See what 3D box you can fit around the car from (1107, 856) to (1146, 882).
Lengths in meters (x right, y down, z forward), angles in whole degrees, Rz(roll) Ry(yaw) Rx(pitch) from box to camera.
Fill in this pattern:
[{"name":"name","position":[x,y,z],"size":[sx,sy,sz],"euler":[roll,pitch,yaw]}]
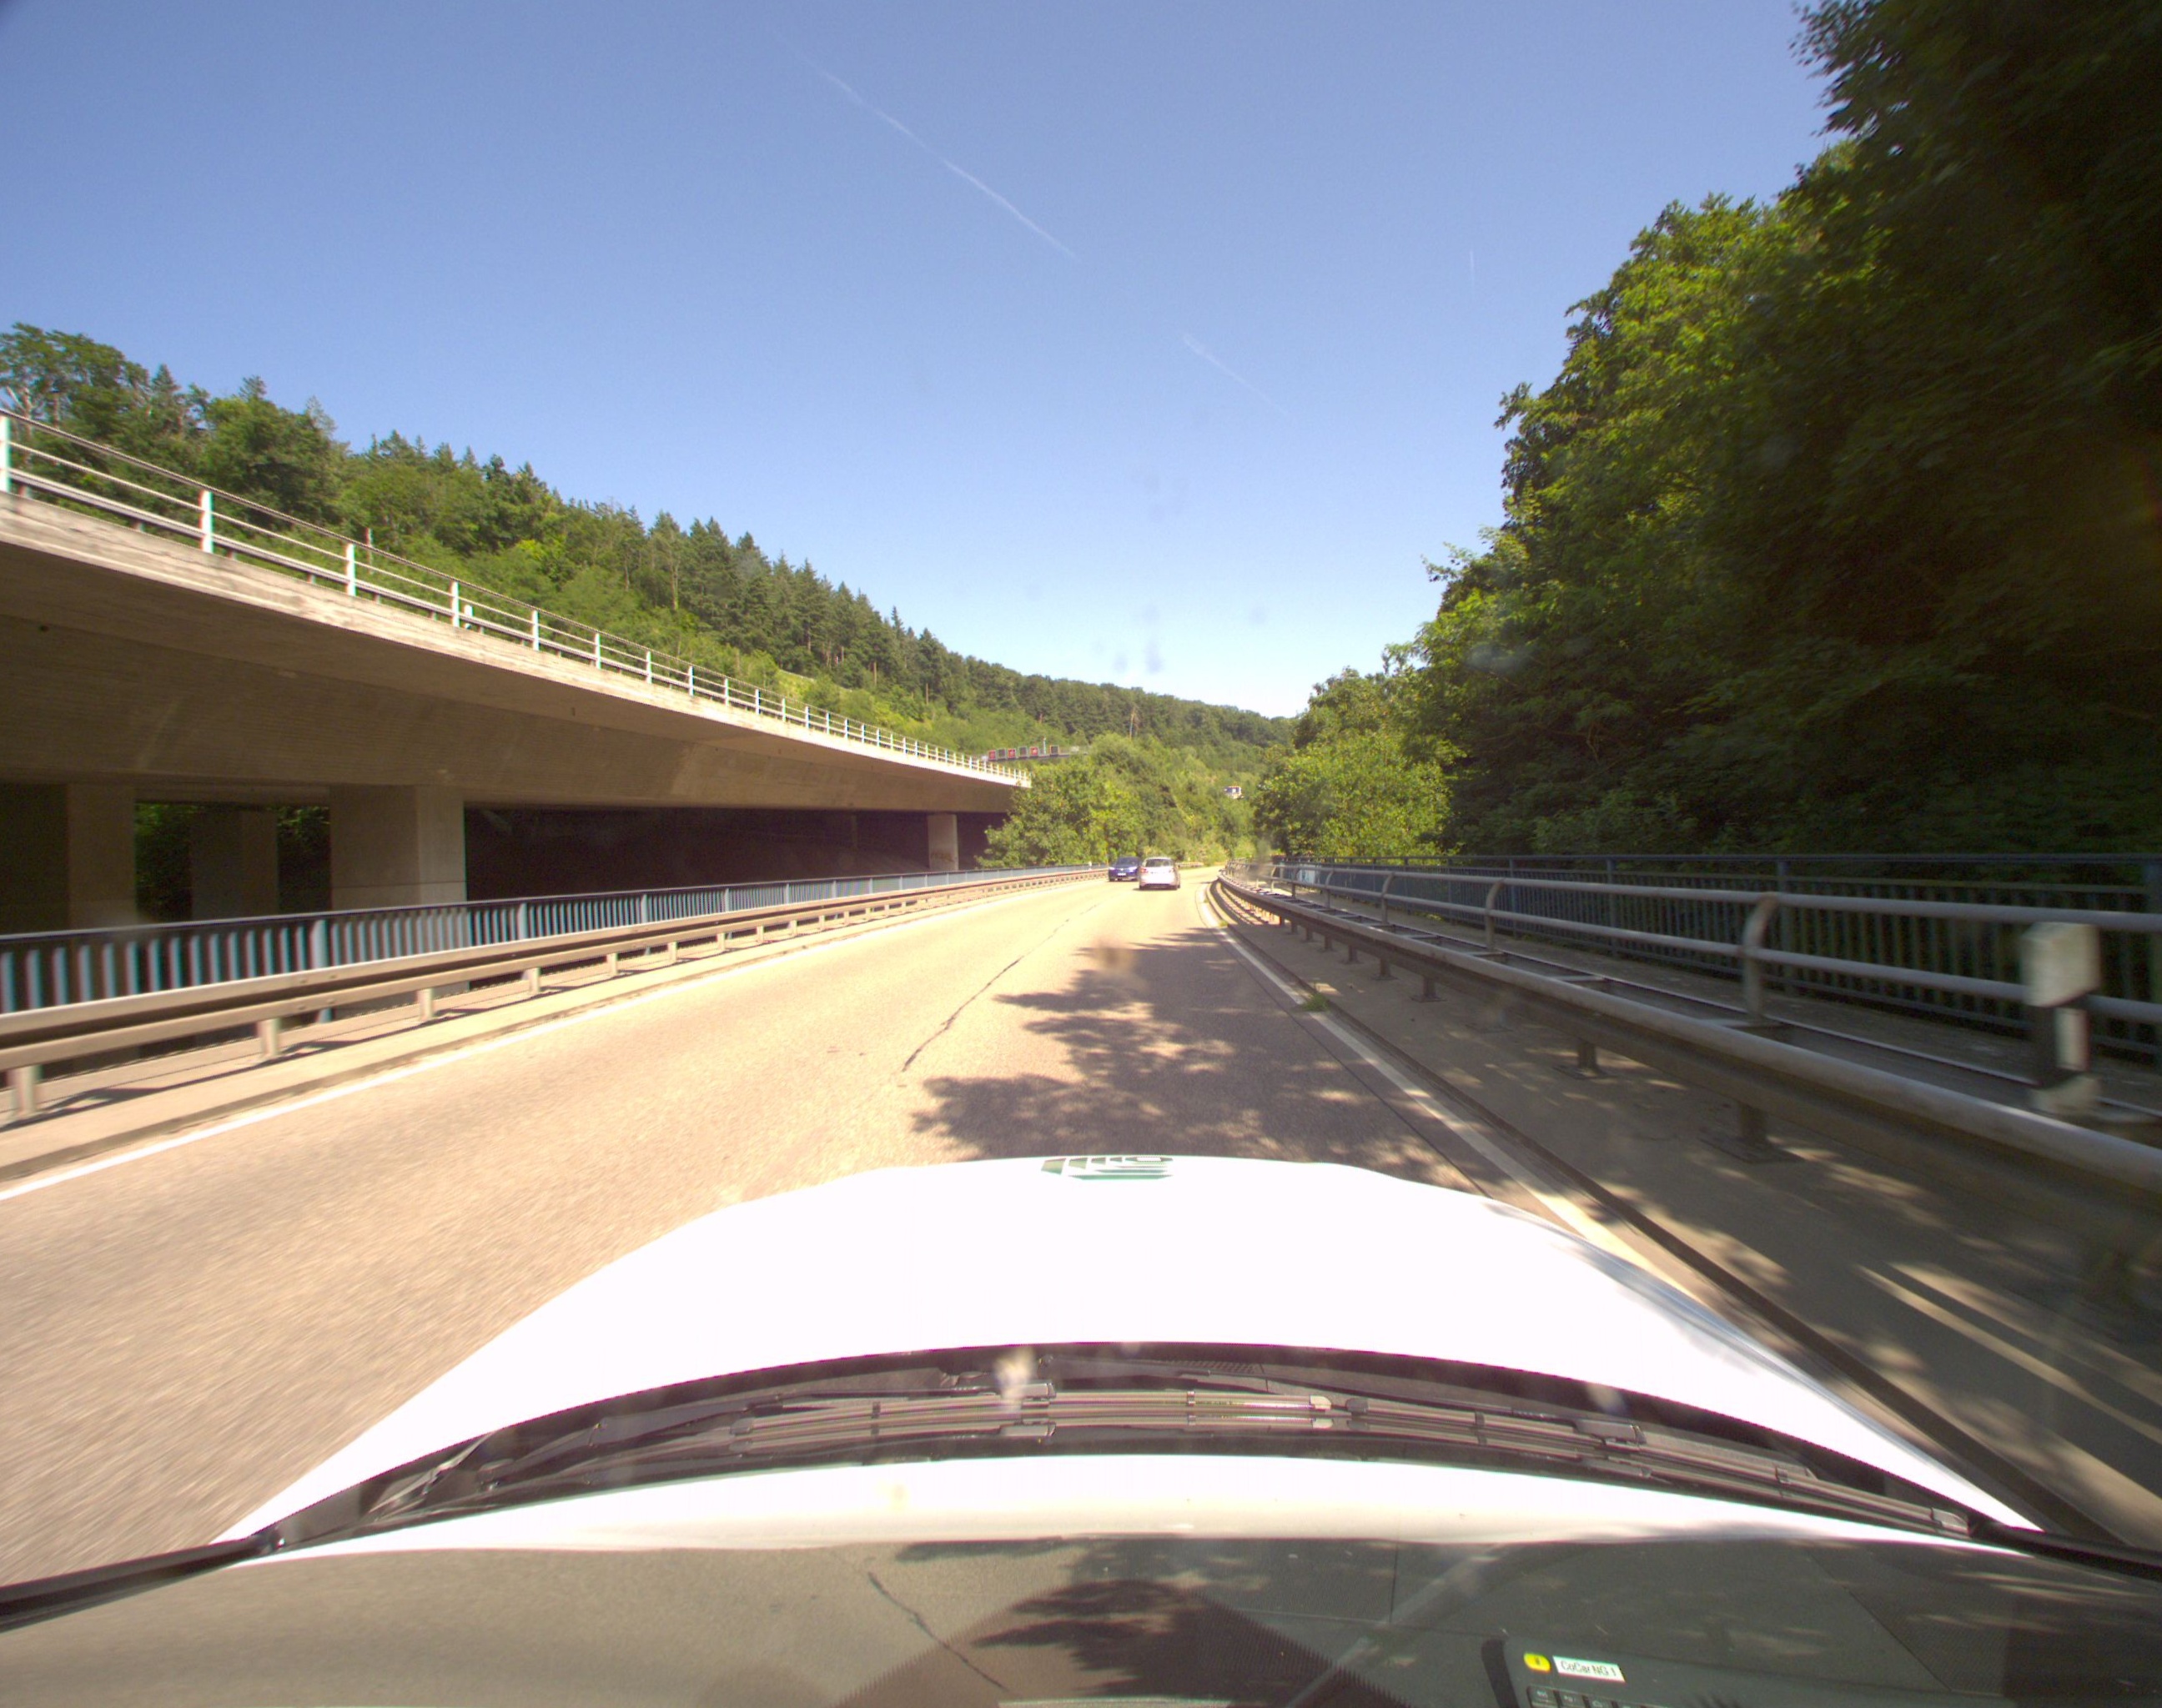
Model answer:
[{"name":"car","position":[2.984,0.921,52.327],"size":[1.886,1.581,4.568],"euler":[-1,0,11]}]

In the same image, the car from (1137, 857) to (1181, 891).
[{"name":"car","position":[3.759,0.920,38.560],"size":[1.740,1.520,4.170],"euler":[-1,-1,10]}]
